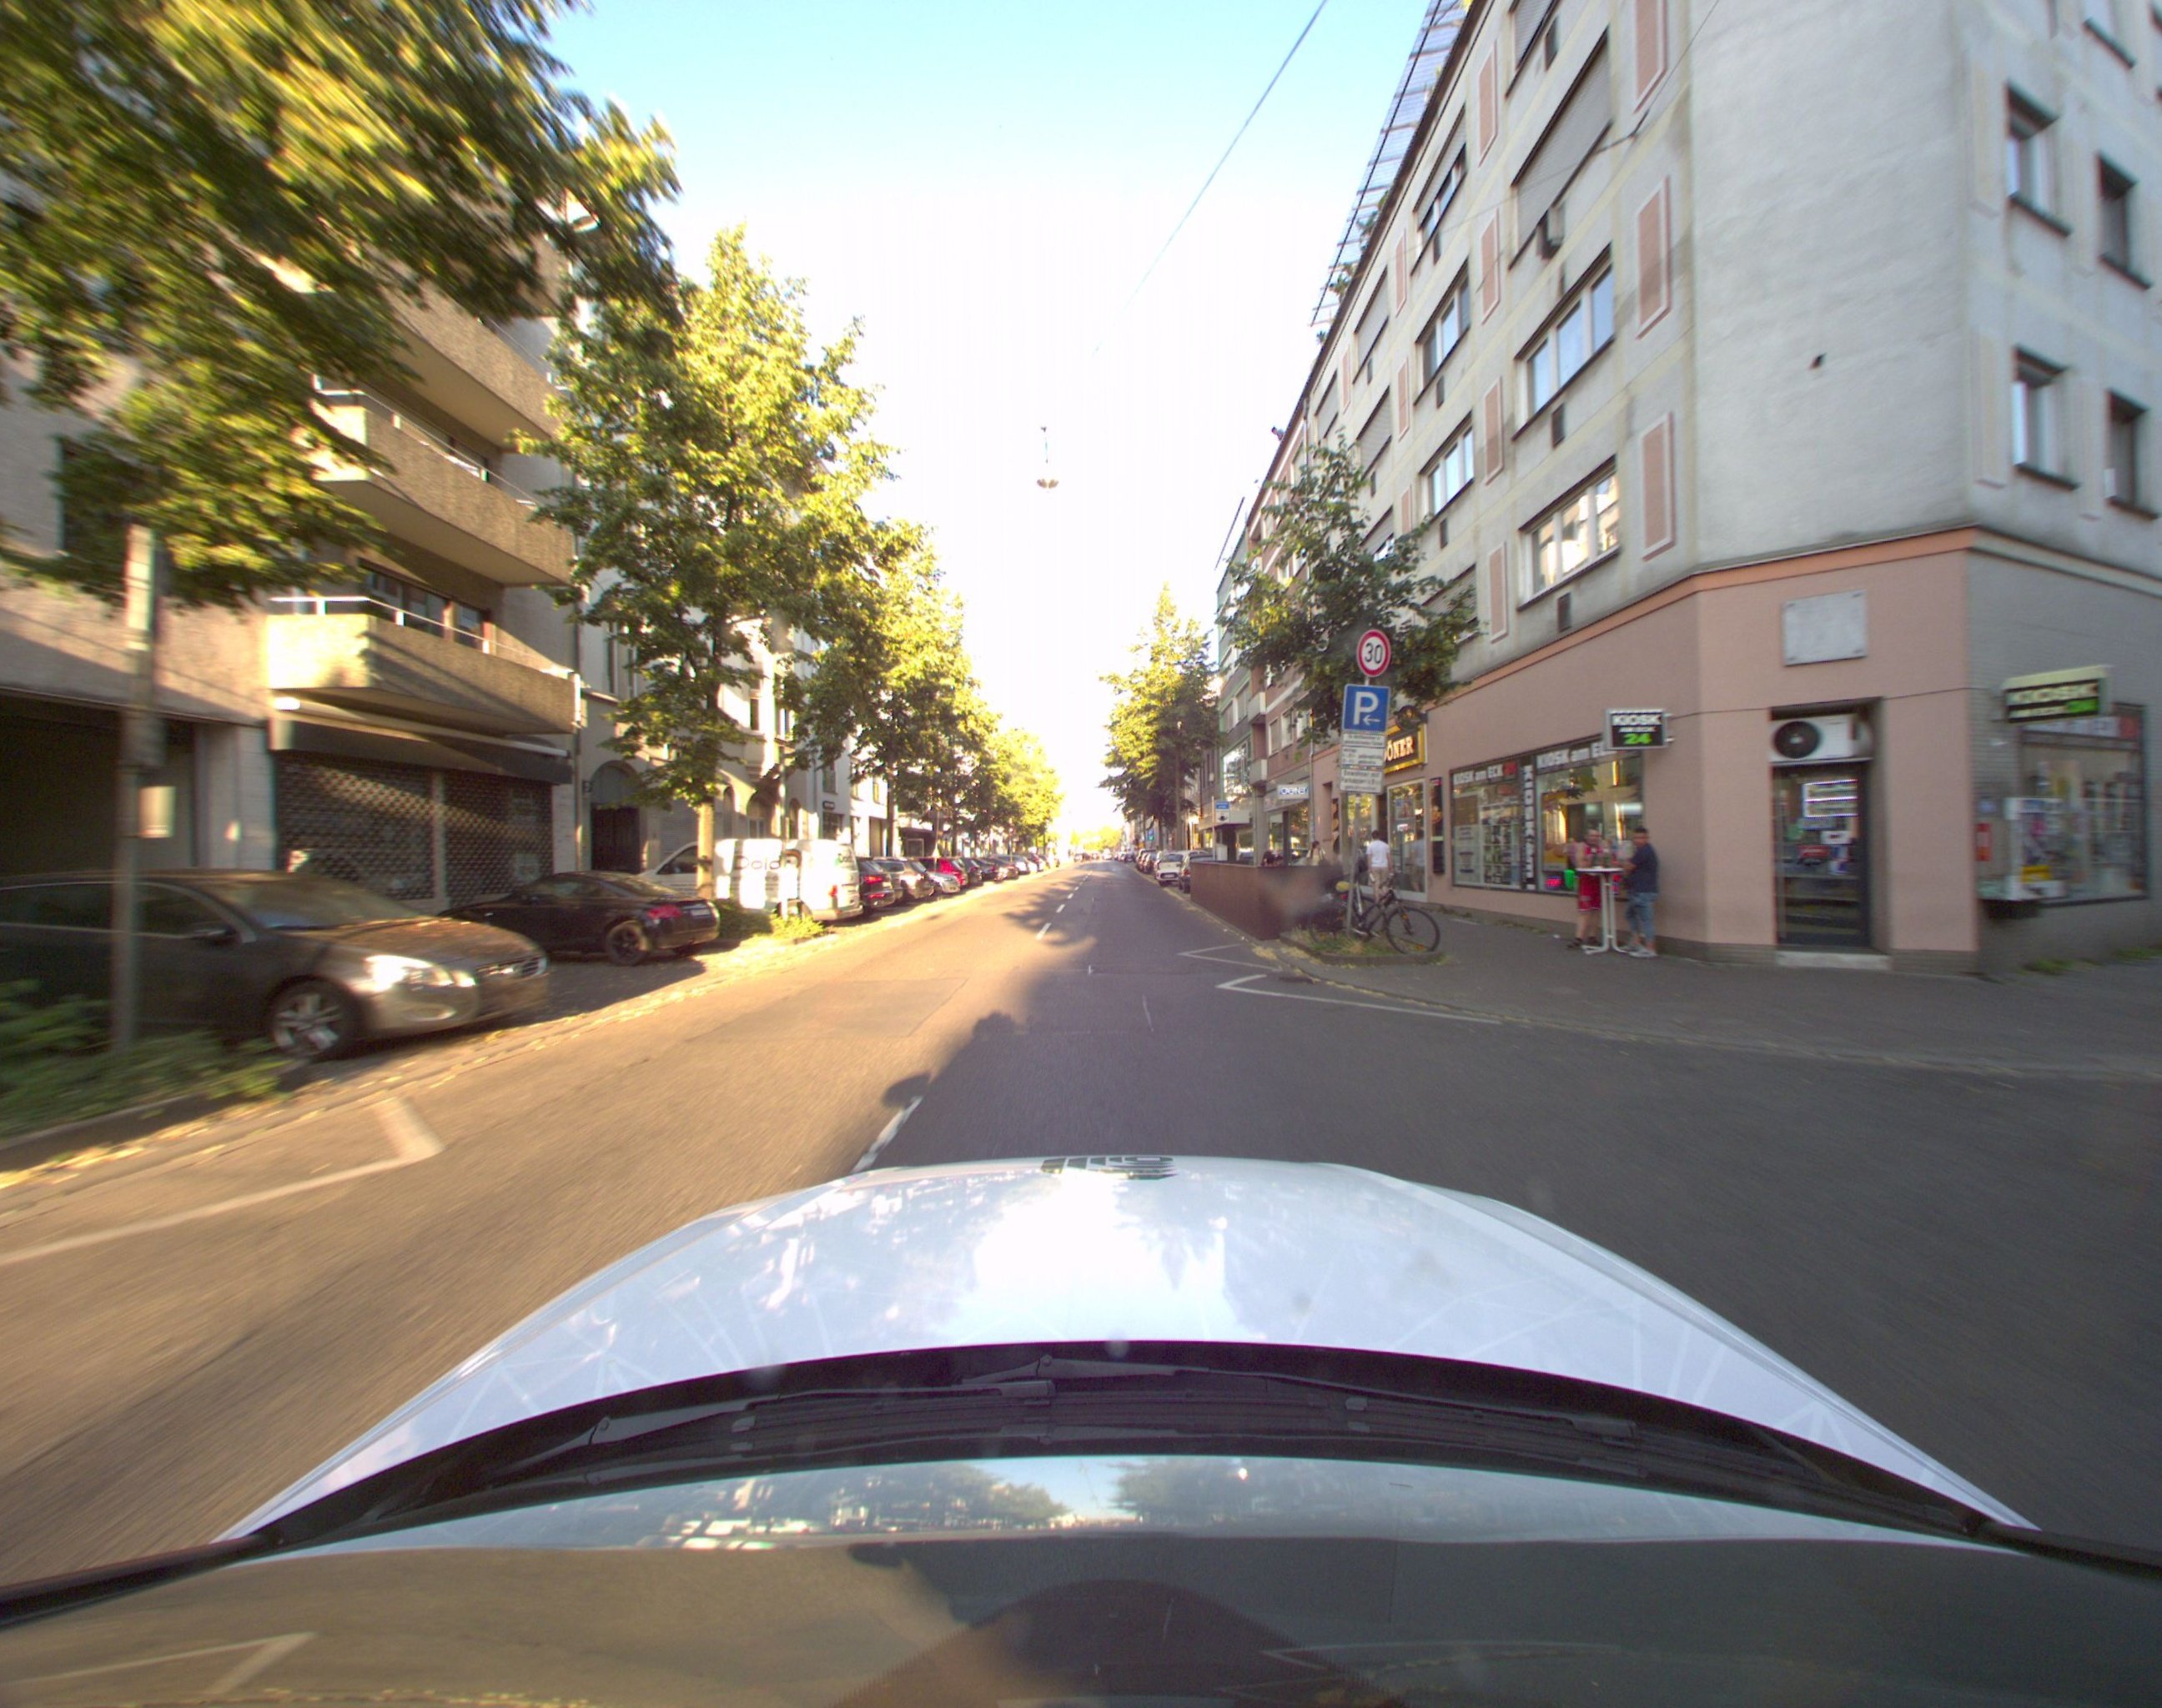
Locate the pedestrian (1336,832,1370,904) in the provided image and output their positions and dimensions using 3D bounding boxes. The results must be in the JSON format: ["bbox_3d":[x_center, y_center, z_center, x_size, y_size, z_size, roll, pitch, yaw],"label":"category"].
[{"bbox_3d":[6.545,0.327,19.615,0.627,1.680,0.894,-1,0,10],"label":"pedestrian"}]

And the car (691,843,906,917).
[{"bbox_3d":[-6.847,0.607,20.120,4.554,1.698,2.061,0,0,2],"label":"car"}]

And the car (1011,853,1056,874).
[{"bbox_3d":[-4.794,0.952,82.715,4.425,2.015,1.920,0,0,2],"label":"car"}]

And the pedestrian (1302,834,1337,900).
[{"bbox_3d":[5.974,0.322,20.420,0.791,1.625,0.915,-1,0,14],"label":"pedestrian"}]

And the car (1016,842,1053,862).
[{"bbox_3d":[-5.888,-0.212,103.170,4.425,2.435,1.920,-1,0,2],"label":"car"}]

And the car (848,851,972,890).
[{"bbox_3d":[-6.689,0.641,32.094,4.425,1.458,1.860,0,0,2],"label":"car"}]

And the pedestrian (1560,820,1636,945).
[{"bbox_3d":[6.908,0.364,10.910,0.565,1.599,0.664,-3,1,2],"label":"pedestrian"}]

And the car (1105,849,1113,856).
[{"bbox_3d":[6.178,-0.320,181.085,1.714,1.475,3.306,-1,0,3],"label":"car"}]

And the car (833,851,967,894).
[{"bbox_3d":[-6.544,0.650,29.784,4.425,1.484,1.810,0,0,2],"label":"car"}]

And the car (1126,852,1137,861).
[{"bbox_3d":[7.182,0.362,115.159,1.507,1.276,3.306,-1,0,3],"label":"car"}]

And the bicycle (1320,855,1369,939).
[{"bbox_3d":[4.061,0.612,12.500,0.593,1.178,1.856,-1,0,21],"label":"bicycle"}]

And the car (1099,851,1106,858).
[{"bbox_3d":[5.269,0.113,195.733,1.563,1.506,3.306,-1,0,3],"label":"car"}]

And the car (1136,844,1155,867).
[{"bbox_3d":[5.353,0.150,67.822,1.507,1.864,4.238,-1,0,3],"label":"car"}]

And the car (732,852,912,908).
[{"bbox_3d":[-7.153,0.709,22.776,4.425,1.467,1.780,0,0,2],"label":"car"}]

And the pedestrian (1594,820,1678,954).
[{"bbox_3d":[6.895,0.392,10.145,0.565,1.584,0.664,-3,1,2],"label":"pedestrian"}]

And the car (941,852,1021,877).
[{"bbox_3d":[-5.892,0.627,48.284,4.425,1.448,1.920,0,0,2],"label":"car"}]

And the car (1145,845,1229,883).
[{"bbox_3d":[4.691,0.396,35.743,1.654,1.588,3.846,0,0,44],"label":"car"}]

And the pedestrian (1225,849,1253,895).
[{"bbox_3d":[4.789,0.529,24.714,0.723,1.378,0.781,-1,0,1],"label":"pedestrian"}]

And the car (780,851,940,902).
[{"bbox_3d":[-6.775,0.684,25.268,4.425,1.506,1.845,0,0,2],"label":"car"}]

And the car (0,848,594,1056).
[{"bbox_3d":[-7.030,0.745,7.037,4.531,1.541,1.811,0,0,0],"label":"car"}]

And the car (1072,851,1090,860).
[{"bbox_3d":[0.081,0.243,137.463,1.910,1.571,3.321,-1,0,23],"label":"car"}]

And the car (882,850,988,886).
[{"bbox_3d":[-6.597,0.632,37.082,4.425,1.568,1.920,0,0,2],"label":"car"}]

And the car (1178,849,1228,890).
[{"bbox_3d":[4.518,0.533,30.604,1.536,1.433,3.681,-1,0,3],"label":"car"}]

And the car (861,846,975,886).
[{"bbox_3d":[-6.929,0.521,34.858,4.425,1.638,1.860,0,0,2],"label":"car"}]

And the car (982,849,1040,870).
[{"bbox_3d":[-5.439,0.421,63.584,4.287,1.598,1.920,0,0,2],"label":"car"}]

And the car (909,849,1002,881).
[{"bbox_3d":[-6.385,0.536,41.795,4.425,1.568,1.920,0,0,2],"label":"car"}]

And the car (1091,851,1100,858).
[{"bbox_3d":[3.210,0.121,175.756,1.745,1.540,3.306,-1,0,3],"label":"car"}]

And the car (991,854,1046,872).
[{"bbox_3d":[-5.213,0.739,68.802,4.425,1.499,1.920,0,0,2],"label":"car"}]

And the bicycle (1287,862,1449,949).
[{"bbox_3d":[3.871,0.658,11.042,1.935,1.074,0.710,-1,0,33],"label":"bicycle"}]

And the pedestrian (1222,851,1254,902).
[{"bbox_3d":[4.313,0.611,22.414,0.723,1.378,0.781,-1,0,1],"label":"pedestrian"}]

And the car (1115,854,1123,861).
[{"bbox_3d":[7.210,0.647,156.286,1.507,1.298,3.306,-1,0,3],"label":"car"}]

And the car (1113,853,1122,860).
[{"bbox_3d":[7.594,0.524,167.588,1.745,1.540,3.306,-1,0,3],"label":"car"}]

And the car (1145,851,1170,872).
[{"bbox_3d":[5.218,0.496,56.053,1.507,1.406,3.839,-1,0,3],"label":"car"}]

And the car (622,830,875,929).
[{"bbox_3d":[-6.981,0.516,17.463,4.555,1.962,1.991,0,0,1],"label":"car"}]

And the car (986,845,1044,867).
[{"bbox_3d":[-5.297,0.172,65.686,4.425,1.759,1.920,0,0,2],"label":"car"}]

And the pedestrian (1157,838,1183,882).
[{"bbox_3d":[3.944,0.262,36.181,0.916,1.926,1.014,0,0,-8],"label":"pedestrian"}]

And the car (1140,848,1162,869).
[{"bbox_3d":[5.235,0.344,61.256,1.507,1.561,3.516,-1,0,3],"label":"car"}]

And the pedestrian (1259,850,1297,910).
[{"bbox_3d":[4.637,0.607,19.198,0.723,1.378,0.781,-1,0,1],"label":"pedestrian"}]

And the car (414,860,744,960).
[{"bbox_3d":[-7.499,0.801,12.468,3.773,1.391,2.046,0,-1,4],"label":"car"}]

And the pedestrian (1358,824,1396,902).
[{"bbox_3d":[6.969,0.205,19.205,0.693,1.805,0.894,-1,0,10],"label":"pedestrian"}]

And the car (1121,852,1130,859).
[{"bbox_3d":[7.294,0.247,133.441,1.507,1.263,3.306,-1,0,3],"label":"car"}]

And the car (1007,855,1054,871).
[{"bbox_3d":[-4.937,0.880,79.894,4.425,1.578,1.920,0,0,2],"label":"car"}]

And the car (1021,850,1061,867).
[{"bbox_3d":[-4.526,0.510,93.099,4.425,1.959,1.920,-1,0,2],"label":"car"}]

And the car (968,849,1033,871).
[{"bbox_3d":[-5.819,0.454,59.264,4.425,1.523,1.920,0,0,2],"label":"car"}]

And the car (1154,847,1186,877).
[{"bbox_3d":[4.784,0.422,43.922,1.507,1.578,3.220,-1,0,3],"label":"car"}]
